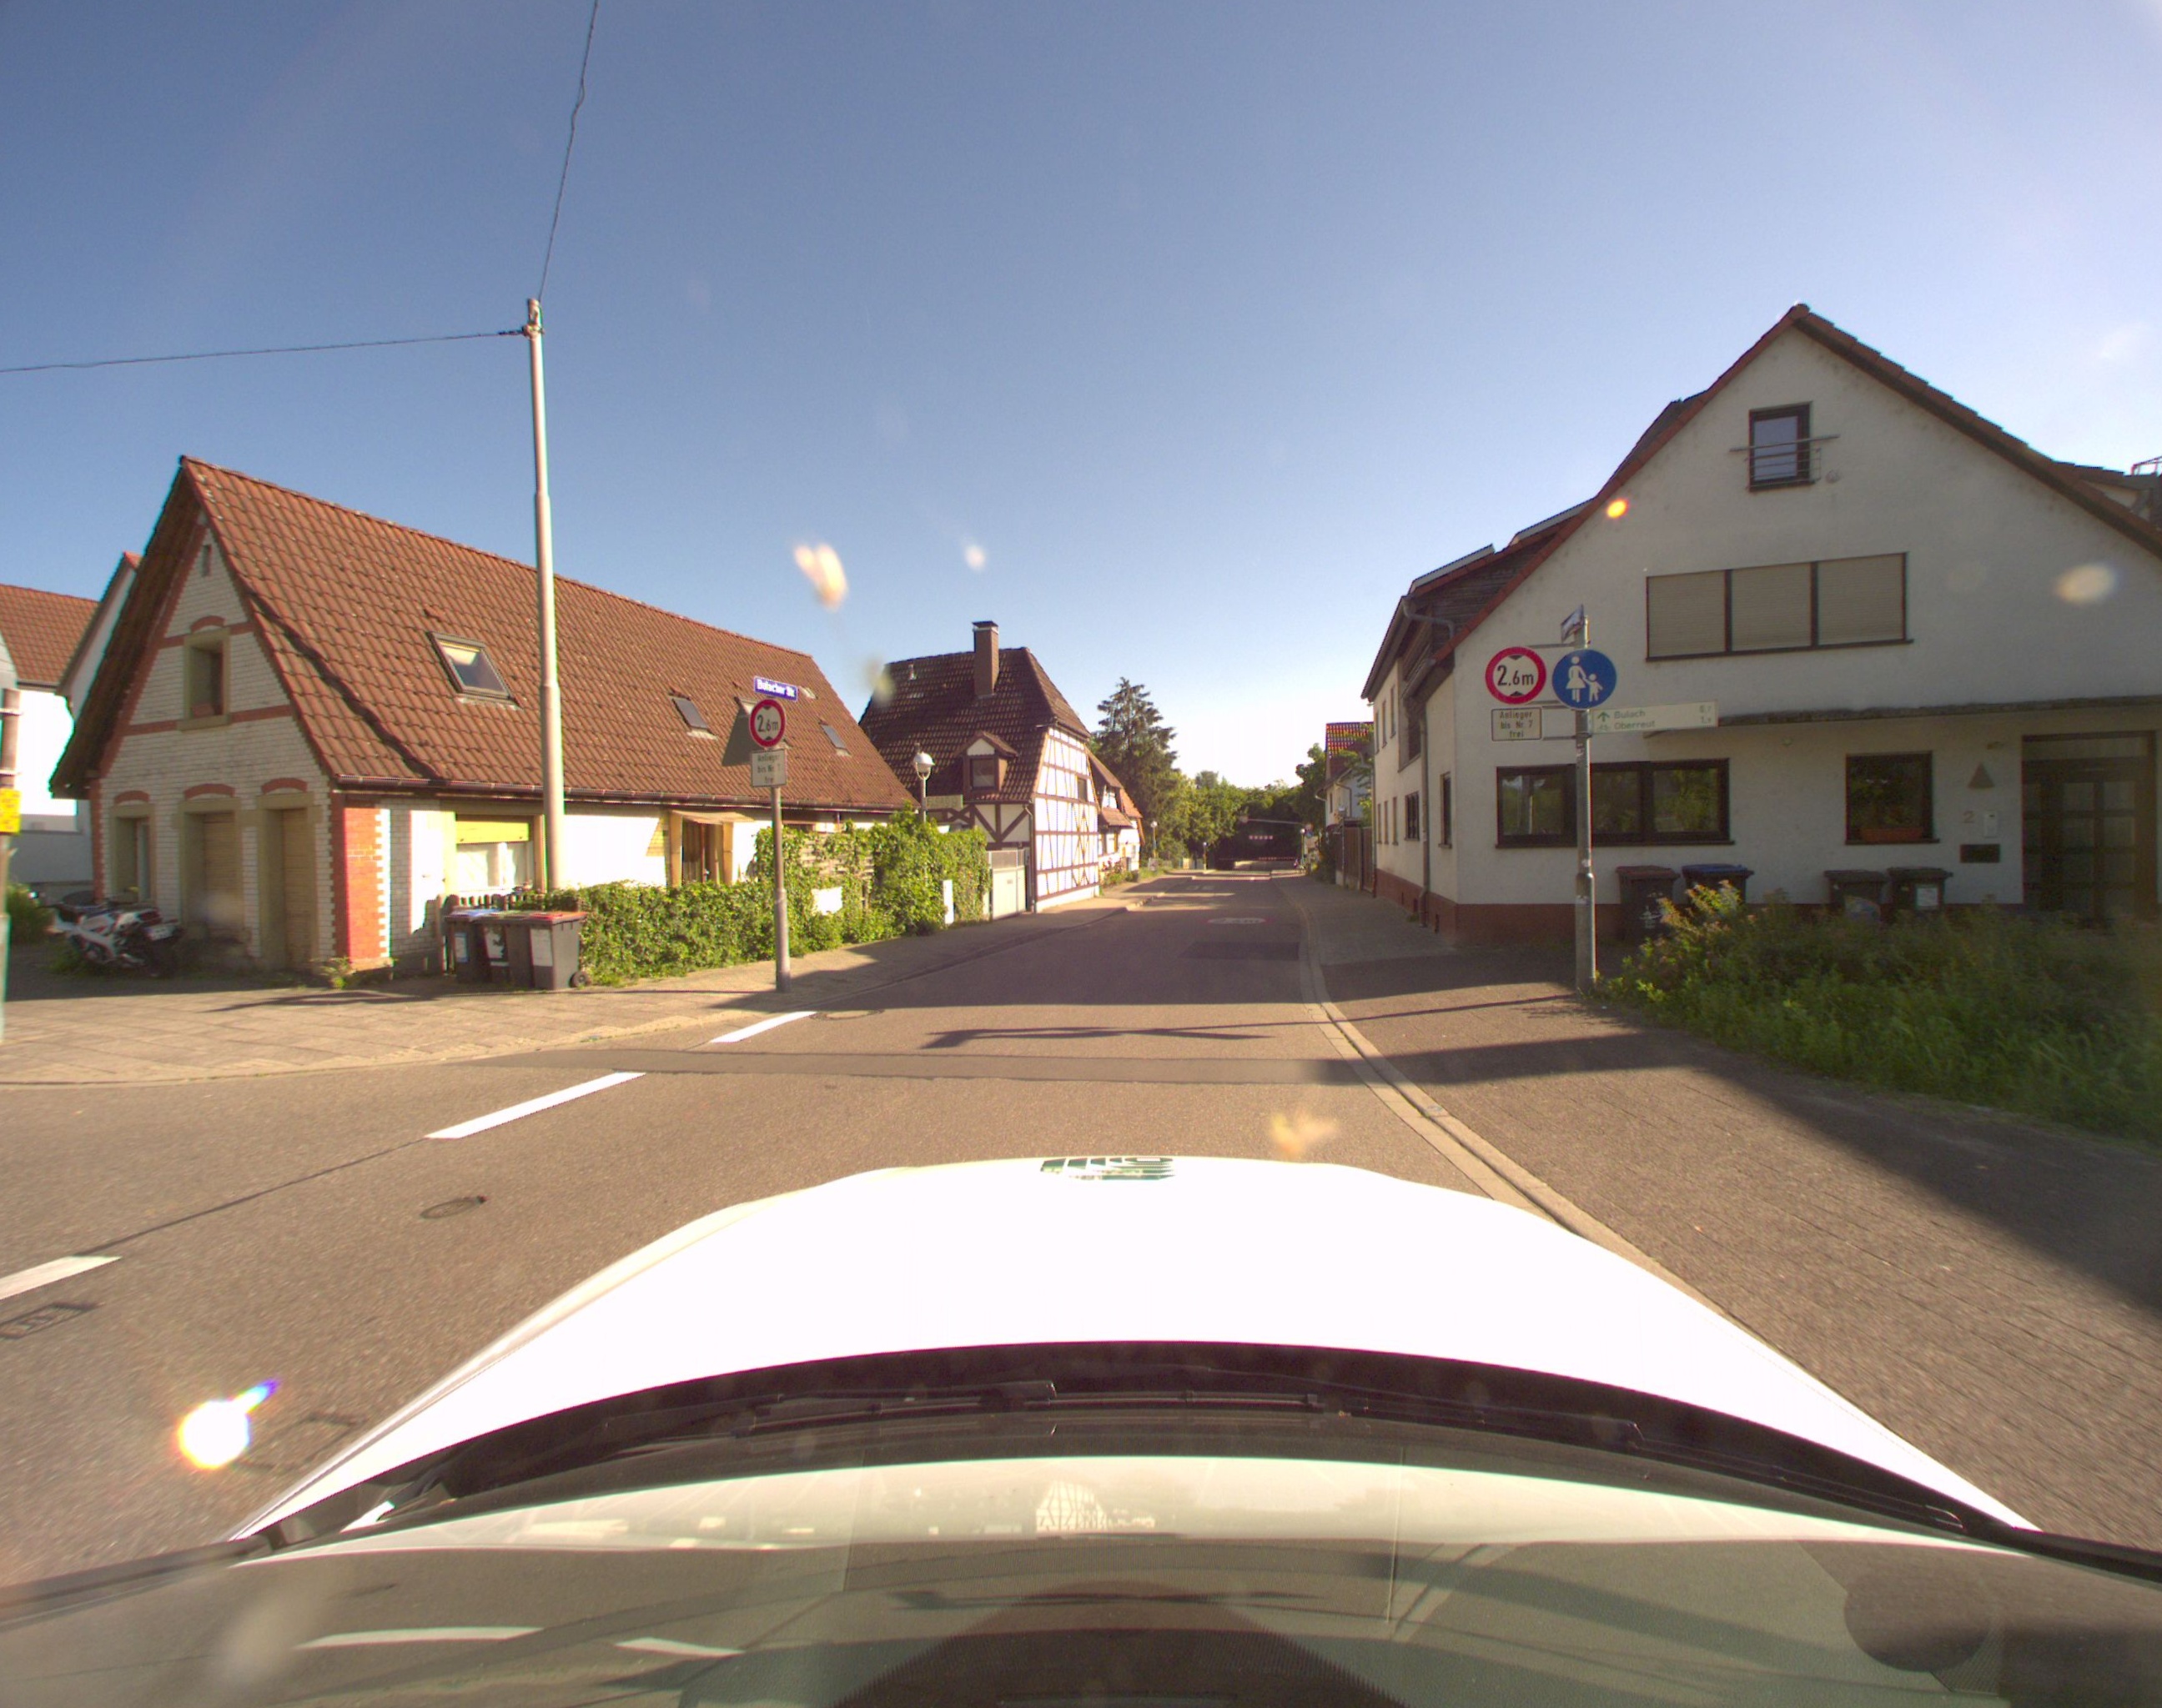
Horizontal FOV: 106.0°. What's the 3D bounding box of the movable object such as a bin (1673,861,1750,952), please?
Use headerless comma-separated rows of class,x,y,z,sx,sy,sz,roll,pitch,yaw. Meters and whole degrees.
movable object such as a bin,8.263,0.669,10.693,0.523,1.122,0.751,-1,1,12

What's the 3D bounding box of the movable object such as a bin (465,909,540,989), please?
movable object such as a bin,-7.298,1.184,10.289,0.409,0.906,0.629,-1,1,20

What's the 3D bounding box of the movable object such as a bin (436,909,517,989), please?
movable object such as a bin,-7.736,1.196,10.436,0.503,0.924,0.629,-1,1,20

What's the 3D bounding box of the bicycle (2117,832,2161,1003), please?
bicycle,8.911,0.468,5.893,1.726,1.283,0.702,-1,0,10

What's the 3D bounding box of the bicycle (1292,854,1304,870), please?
bicycle,16.385,0.594,61.582,0.684,1.157,1.544,-5,-1,12

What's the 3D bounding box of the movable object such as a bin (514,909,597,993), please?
movable object such as a bin,-6.416,1.164,9.956,0.551,0.924,0.629,-1,1,20

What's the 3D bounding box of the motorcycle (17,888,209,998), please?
motorcycle,-13.061,1.156,10.992,2.223,1.295,0.887,-1,3,20

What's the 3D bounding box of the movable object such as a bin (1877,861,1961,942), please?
movable object such as a bin,10.632,0.591,10.347,0.494,0.976,0.596,-1,1,11

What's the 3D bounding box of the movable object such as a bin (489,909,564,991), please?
movable object such as a bin,-6.893,1.179,10.142,0.407,0.924,0.629,-1,1,20

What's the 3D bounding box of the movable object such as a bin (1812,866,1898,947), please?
movable object such as a bin,9.936,0.657,10.477,0.526,0.983,0.671,-1,1,12

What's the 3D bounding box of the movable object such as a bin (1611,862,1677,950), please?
movable object such as a bin,7.614,0.683,11.030,0.477,1.122,0.751,-1,1,12
